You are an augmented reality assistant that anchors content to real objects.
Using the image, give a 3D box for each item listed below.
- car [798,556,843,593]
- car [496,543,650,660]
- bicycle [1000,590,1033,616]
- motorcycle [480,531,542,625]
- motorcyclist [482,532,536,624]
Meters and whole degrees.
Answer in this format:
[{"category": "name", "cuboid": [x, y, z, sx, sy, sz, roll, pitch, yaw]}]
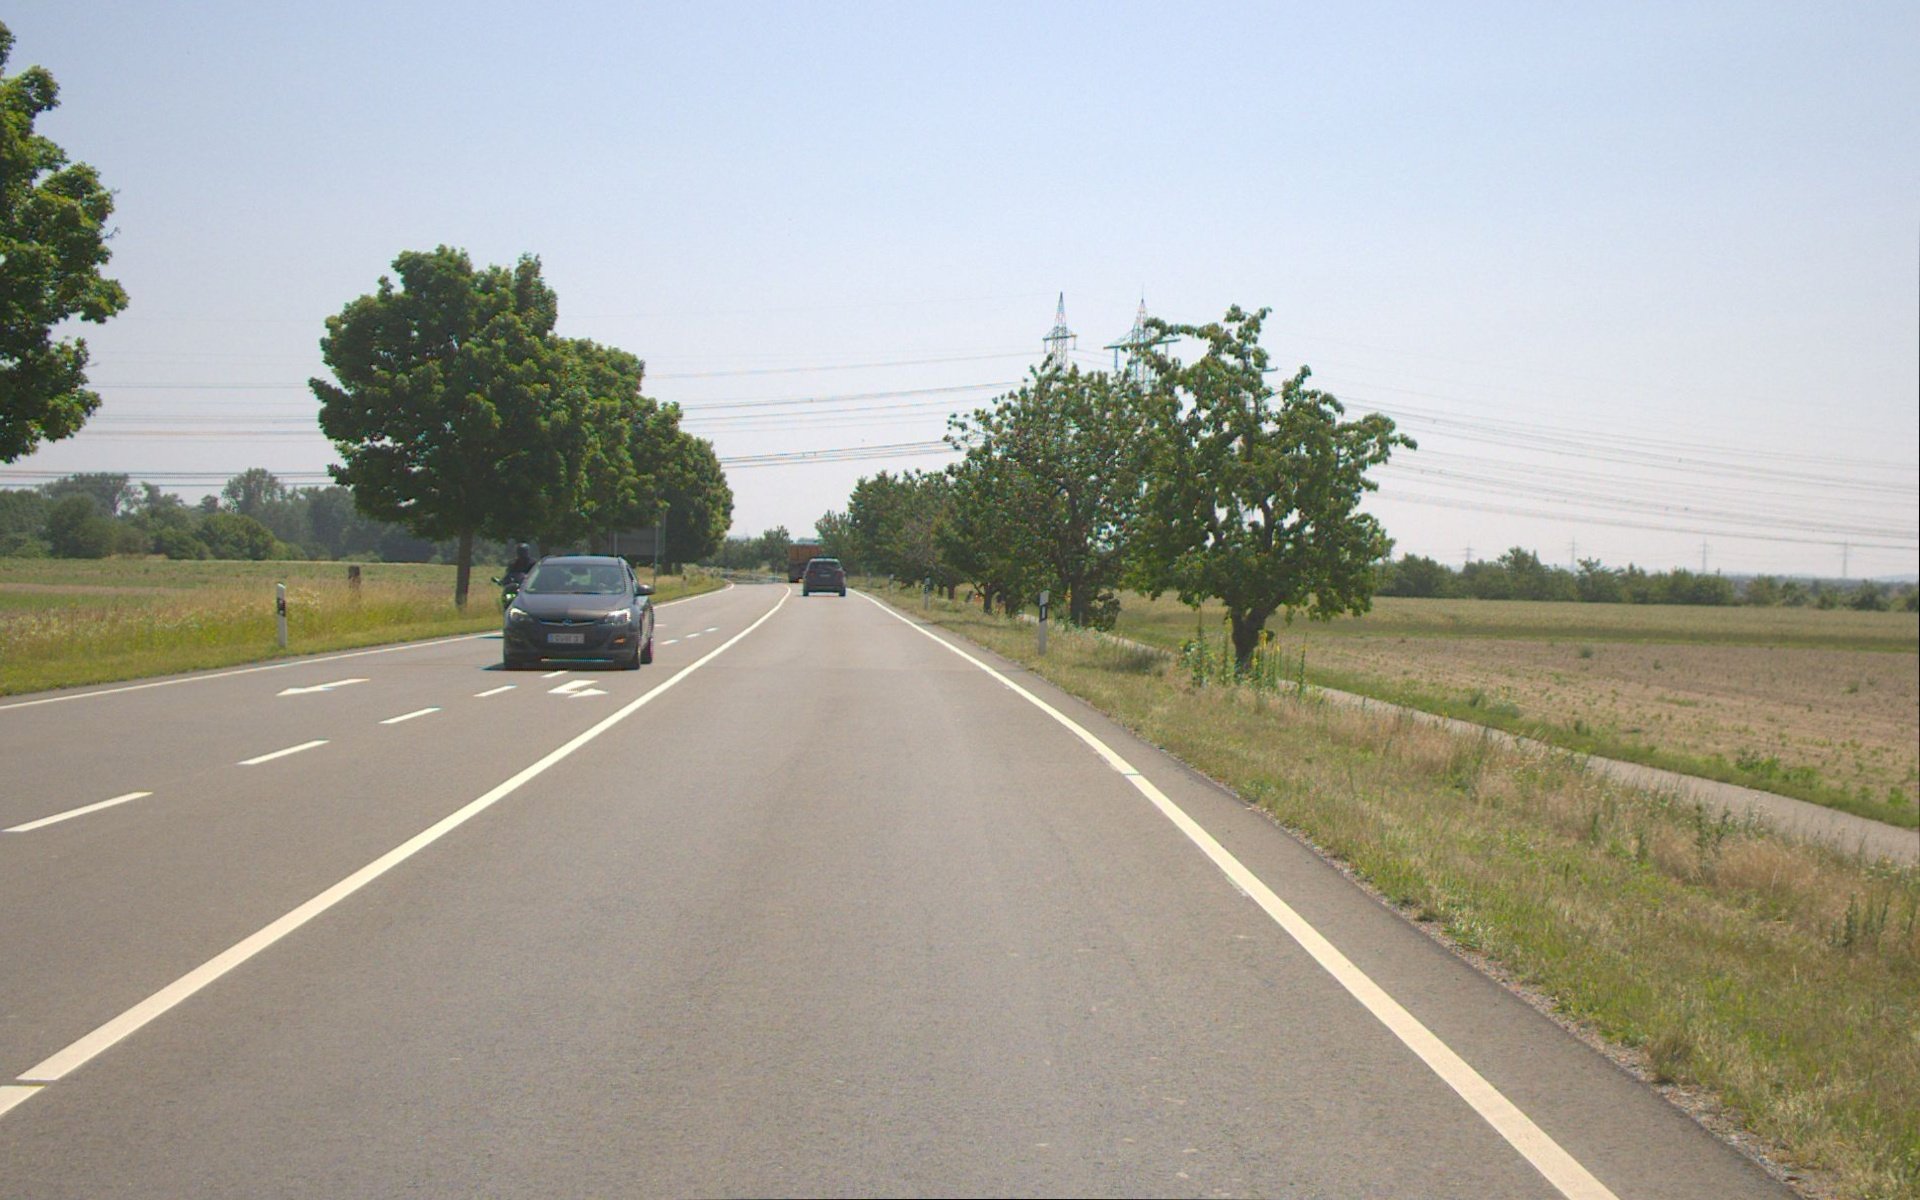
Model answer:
[{"category": "car", "cuboid": [-6.237, -1.154, 153.768, 1.884, 1.513, 4.040, 4, 1, -3]}, {"category": "car", "cuboid": [-5.135, -0.016, 46.113, 1.739, 1.468, 4.619, 1, 1, -3]}, {"category": "bicycle", "cuboid": [2.802, 0.147, 170.403, 1.218, 1.161, 2.436, 4, 1, -7]}, {"category": "motorcycle", "cuboid": [-8.489, -0.419, 65.086, 0.888, 1.737, 2.445, 1, 1, -1]}, {"category": "motorcyclist", "cuboid": [-8.485, -0.421, 64.745, 0.853, 1.715, 1.088, 1, 1, 0]}]
